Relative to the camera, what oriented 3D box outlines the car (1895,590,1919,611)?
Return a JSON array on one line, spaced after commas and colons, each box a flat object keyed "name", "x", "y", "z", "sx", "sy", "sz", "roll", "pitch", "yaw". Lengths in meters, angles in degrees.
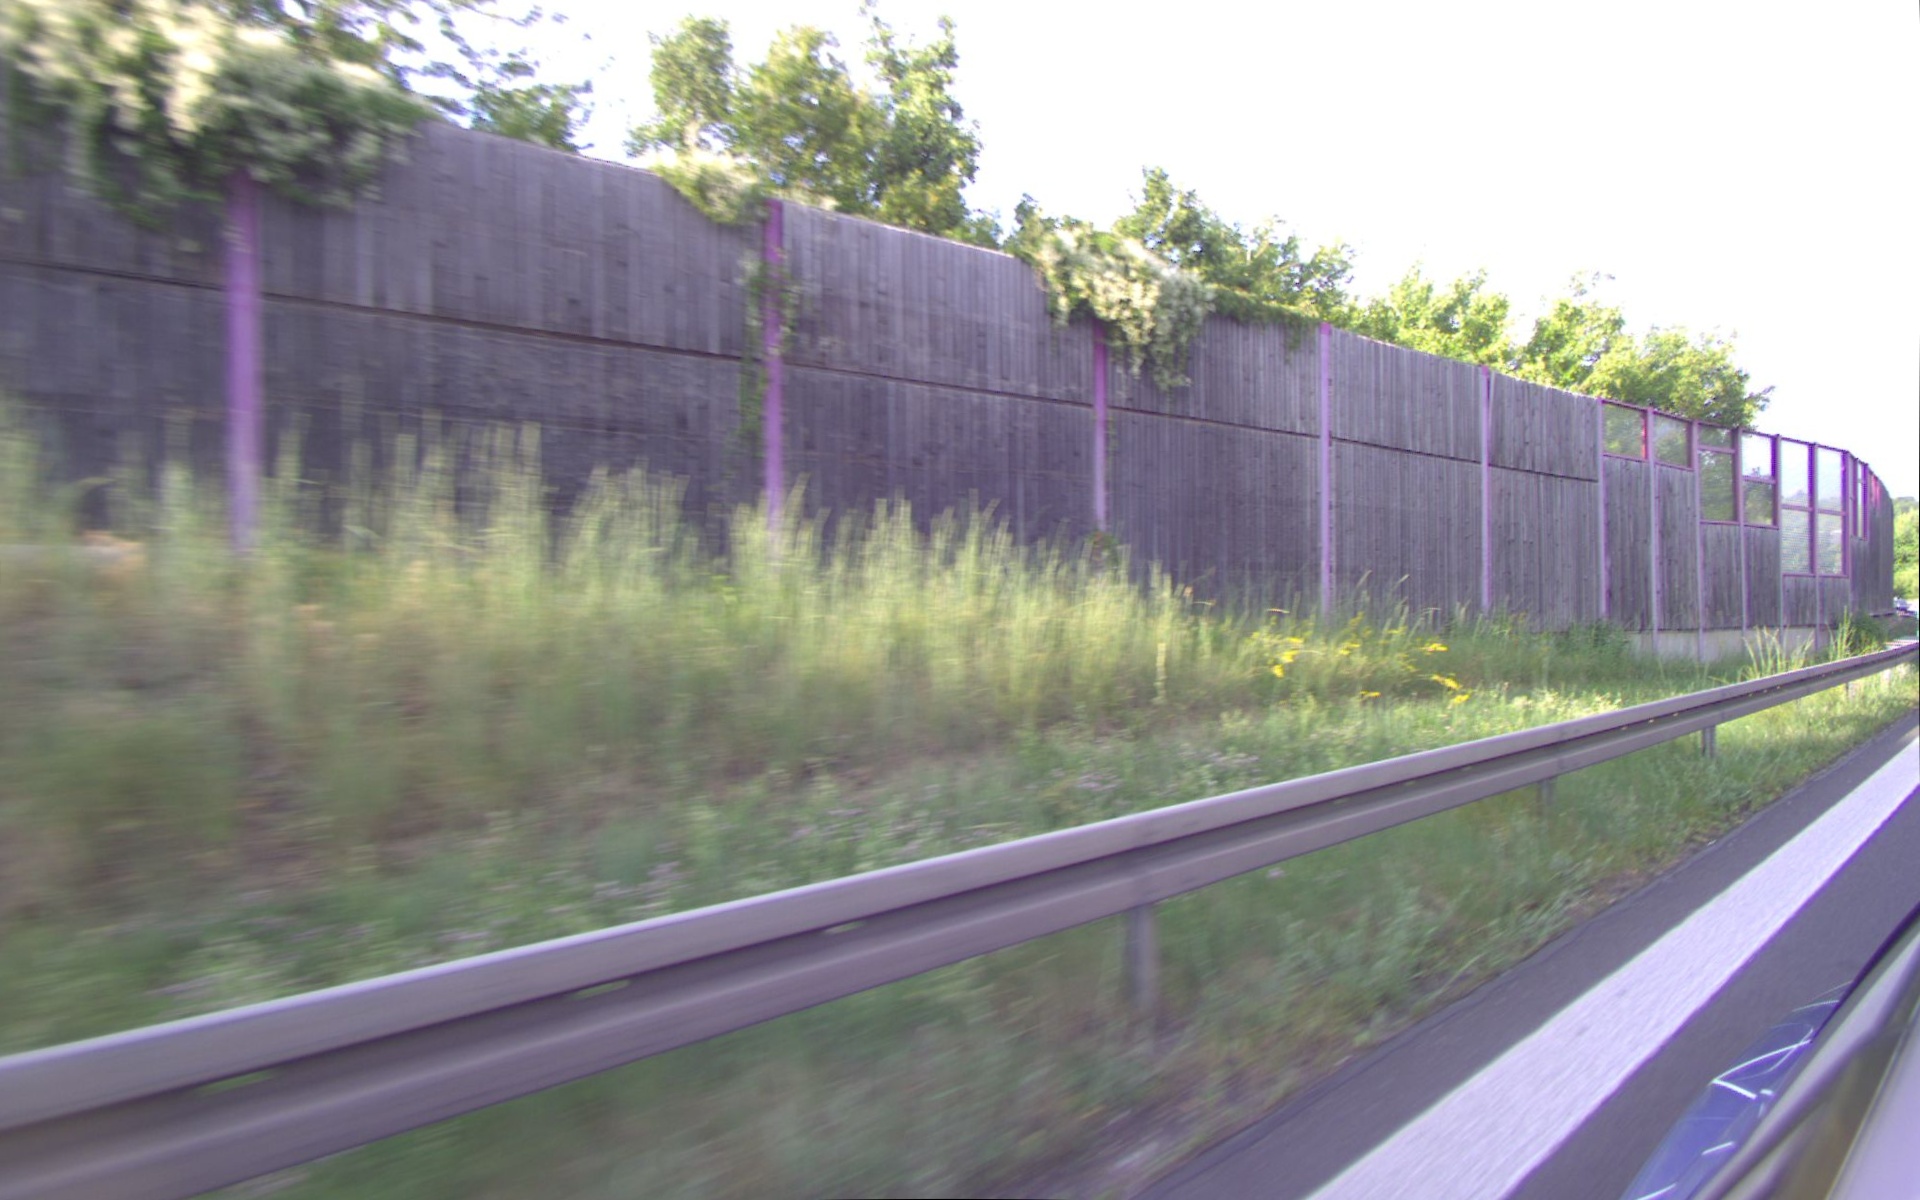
[{"name": "car", "x": 79.365, "y": 0.028, "z": 84.448, "sx": 1.801, "sy": 1.738, "sz": 3.940, "roll": 1, "pitch": 0, "yaw": 41}]
